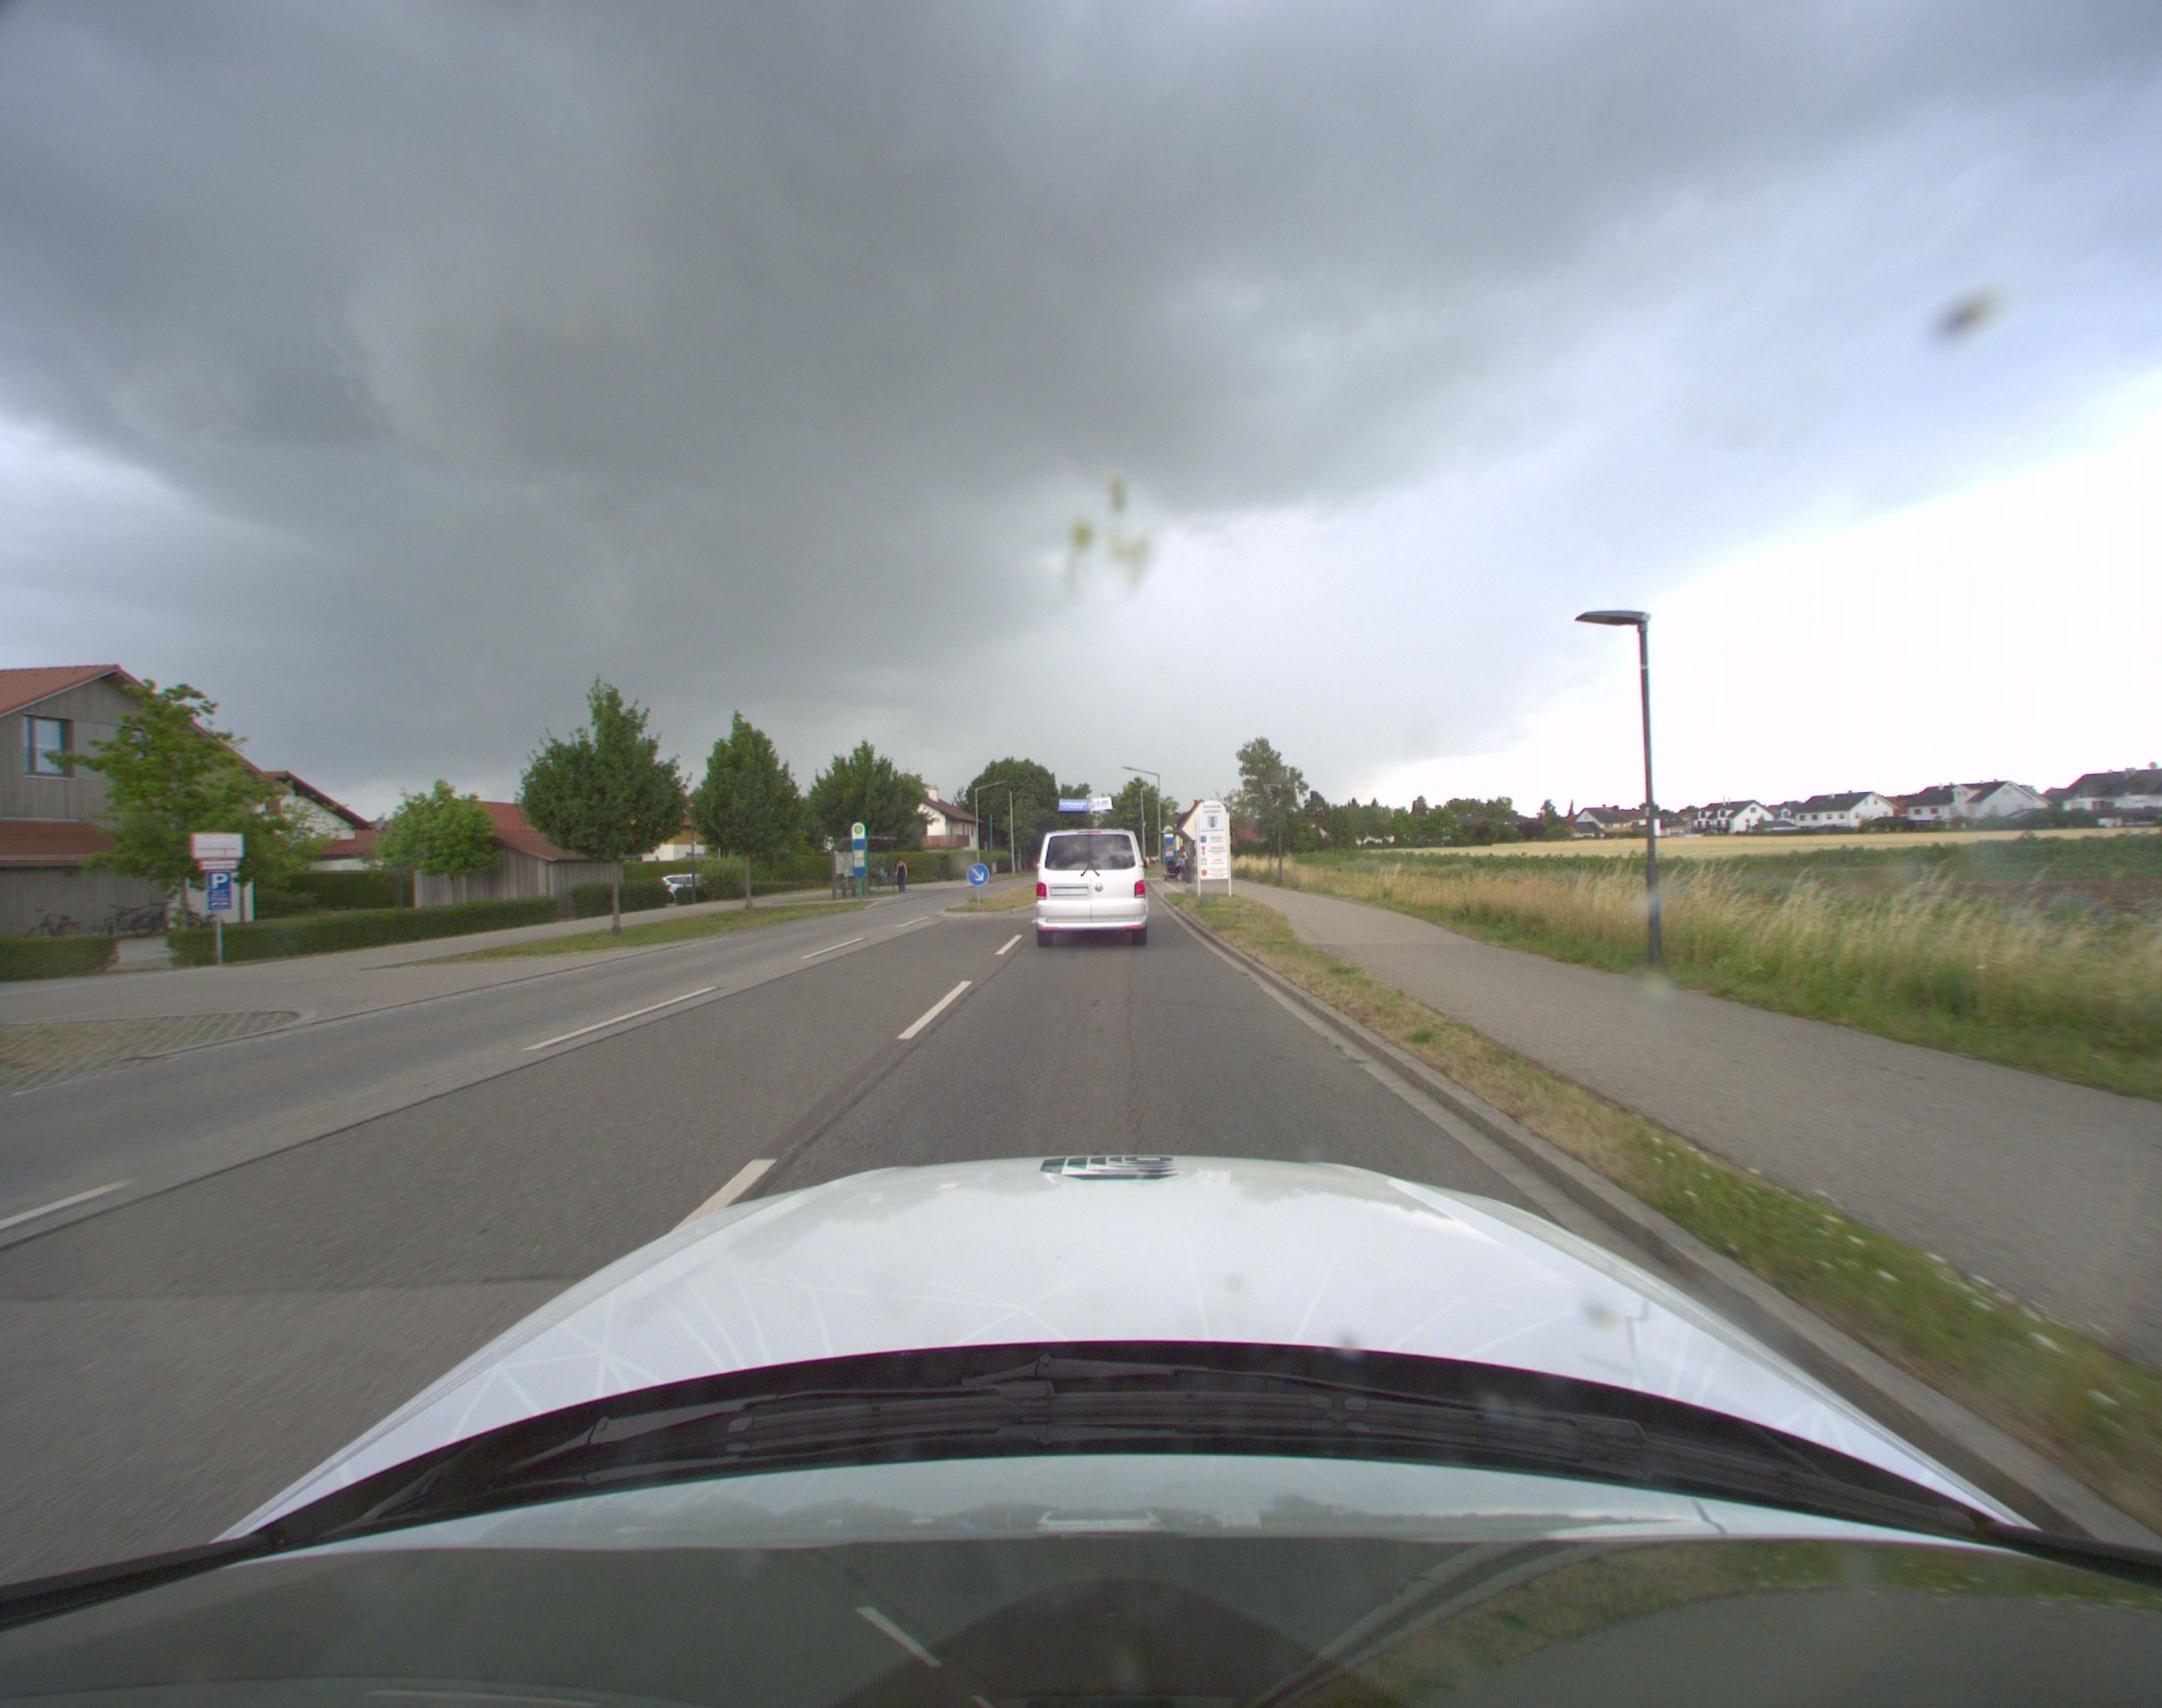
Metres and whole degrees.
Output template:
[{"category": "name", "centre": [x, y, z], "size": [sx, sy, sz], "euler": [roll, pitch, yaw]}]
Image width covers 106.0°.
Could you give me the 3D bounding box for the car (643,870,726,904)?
[{"category": "car", "centre": [-21.498, 1.762, 44.208], "size": [3.580, 1.529, 1.658], "euler": [-4, 0, -2]}]

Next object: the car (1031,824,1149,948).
[{"category": "car", "centre": [0.174, 0.493, 14.842], "size": [1.819, 1.913, 4.000], "euler": [-1, 0, 1]}]

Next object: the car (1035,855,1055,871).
[{"category": "car", "centre": [-3.574, 0.932, 82.460], "size": [1.647, 1.429, 3.604], "euler": [-4, 0, 2]}]

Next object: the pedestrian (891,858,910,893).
[{"category": "pedestrian", "centre": [-8.089, 0.965, 36.503], "size": [0.621, 1.525, 0.680], "euler": [-4, 0, 2]}]

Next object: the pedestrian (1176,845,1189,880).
[{"category": "pedestrian", "centre": [5.161, 0.415, 41.263], "size": [0.483, 1.732, 0.642], "euler": [-4, 0, 1]}]

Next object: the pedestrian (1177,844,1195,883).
[{"category": "pedestrian", "centre": [4.843, 0.426, 37.598], "size": [0.636, 1.732, 0.488], "euler": [-4, 0, 13]}]

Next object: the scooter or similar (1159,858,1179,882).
[{"category": "scooter or similar", "centre": [4.413, 0.802, 40.985], "size": [0.845, 1.103, 1.095], "euler": [-4, 0, 2]}]
